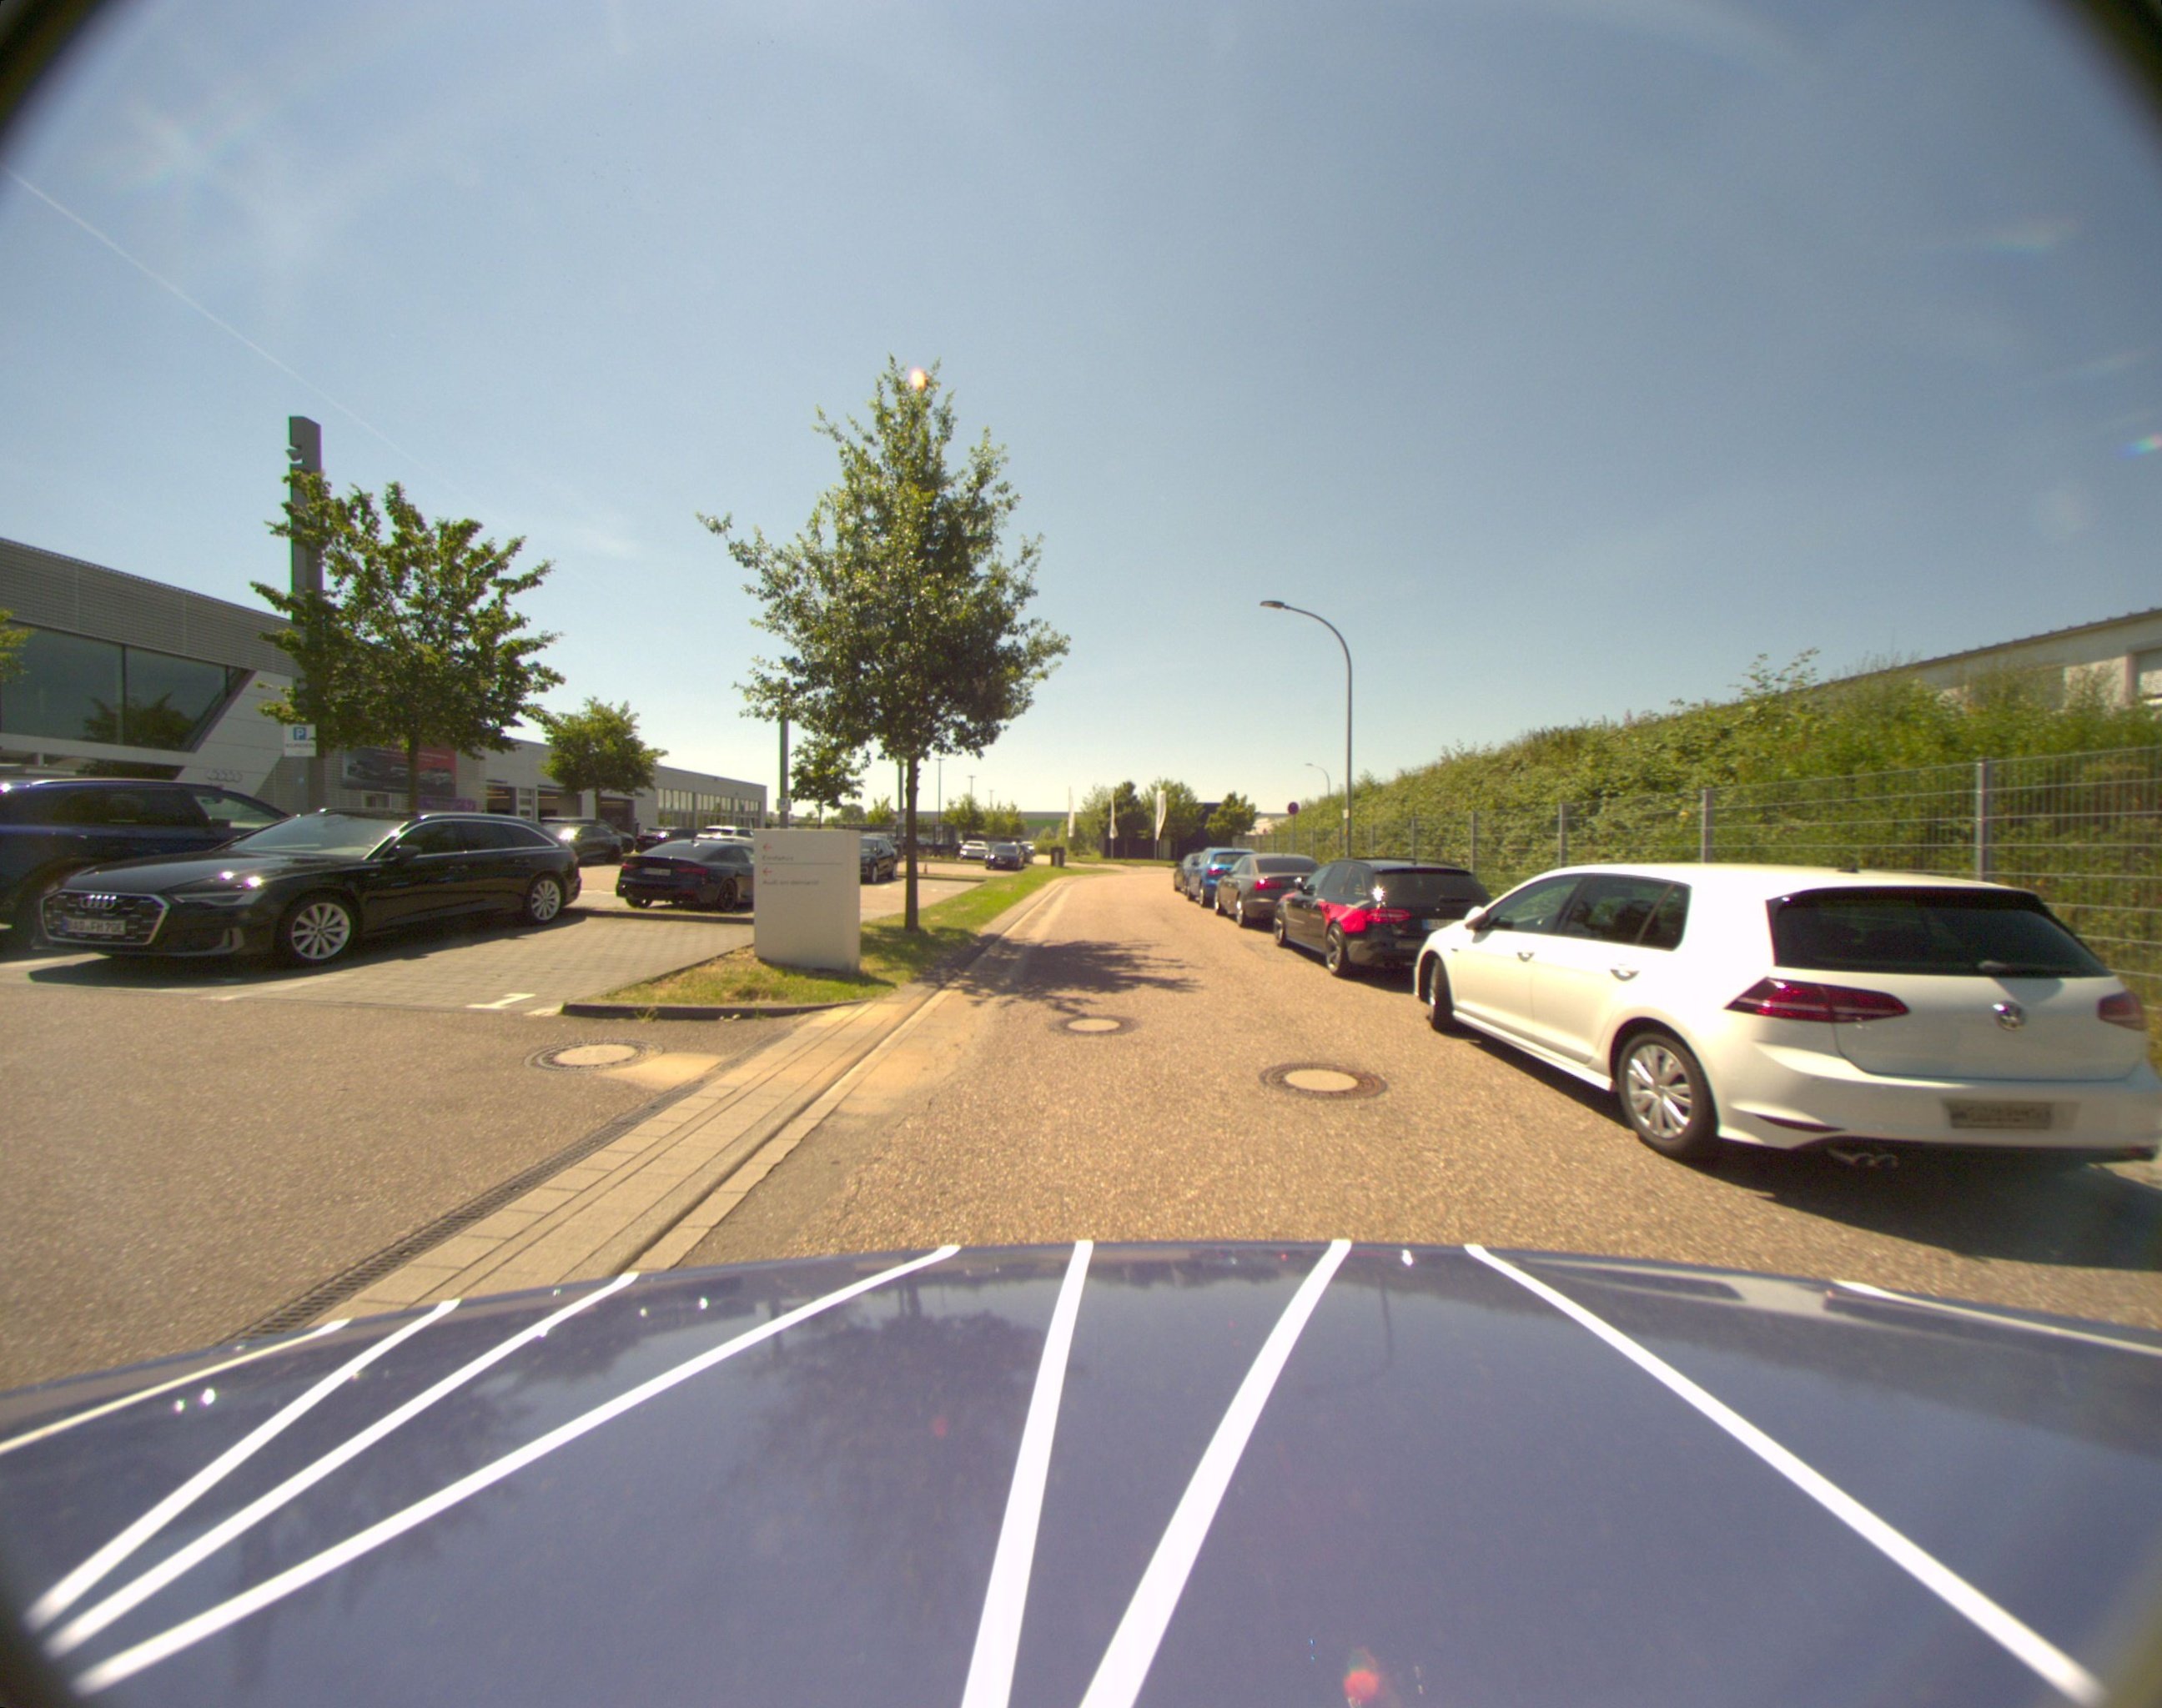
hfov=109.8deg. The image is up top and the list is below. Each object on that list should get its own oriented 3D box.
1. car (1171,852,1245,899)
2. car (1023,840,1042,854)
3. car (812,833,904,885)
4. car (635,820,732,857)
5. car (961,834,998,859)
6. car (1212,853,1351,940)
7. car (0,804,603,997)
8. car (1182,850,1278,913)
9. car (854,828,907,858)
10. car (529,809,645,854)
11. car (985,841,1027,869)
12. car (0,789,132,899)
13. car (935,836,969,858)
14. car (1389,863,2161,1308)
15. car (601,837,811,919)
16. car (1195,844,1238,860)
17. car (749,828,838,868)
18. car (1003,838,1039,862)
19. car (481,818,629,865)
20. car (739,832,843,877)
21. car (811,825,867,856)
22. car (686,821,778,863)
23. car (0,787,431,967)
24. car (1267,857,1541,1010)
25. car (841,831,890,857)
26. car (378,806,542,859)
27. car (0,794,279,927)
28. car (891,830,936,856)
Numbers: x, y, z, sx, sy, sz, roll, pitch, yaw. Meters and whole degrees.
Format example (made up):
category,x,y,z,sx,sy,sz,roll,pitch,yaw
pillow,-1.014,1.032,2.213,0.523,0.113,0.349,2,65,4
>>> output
category,x,y,z,sx,sy,sz,roll,pitch,yaw
car,4.346,0.678,26.687,1.829,1.446,4.580,1,1,0
car,-5.823,-0.847,91.733,1.823,1.637,4.396,2,1,3
car,-7.718,0.141,26.684,1.892,1.562,4.227,3,1,0
car,-17.380,-0.659,33.496,1.966,1.468,4.371,2,1,0
car,-6.856,-0.526,51.785,1.824,1.520,4.944,2,1,0
car,4.011,0.763,15.986,1.828,1.491,4.520,1,1,2
car,-7.882,0.253,8.403,1.966,1.449,4.984,2,3,1
car,4.061,0.681,21.393,1.829,1.561,4.386,1,1,0
car,-11.633,-0.622,44.469,1.829,1.634,4.785,1,1,0
car,-21.430,-0.947,33.254,1.966,1.729,4.728,2,1,0
car,-4.305,0.014,44.504,1.884,1.446,5.023,3,1,0
car,-15.331,-0.106,8.947,1.966,1.449,4.984,2,3,1
car,-10.750,-0.588,63.431,1.966,1.620,4.625,2,1,0
car,3.711,0.867,4.863,1.828,1.491,4.258,1,1,2
car,-7.586,0.446,16.034,1.966,1.358,4.721,3,0,1
car,14.054,-0.193,79.119,4.169,1.558,1.780,1,1,0
car,-12.559,-0.275,33.520,1.966,1.544,5.005,2,1,0
car,-3.978,-0.278,51.406,1.966,1.459,4.944,2,1,0
car,-17.976,-0.417,26.275,1.966,1.358,4.466,3,1,0
car,-10.042,-0.011,26.699,1.966,1.358,4.227,3,1,0
car,-14.258,-0.788,44.977,1.829,1.685,4.416,3,1,0
car,-14.932,-0.520,32.778,1.966,1.604,4.288,2,1,0
car,-10.478,0.092,8.547,1.966,1.589,4.984,2,3,1
car,3.916,0.839,10.184,1.828,1.491,4.520,1,1,2
car,-14.620,-0.673,51.857,1.966,1.620,4.625,2,1,0
car,-21.686,-0.718,26.824,1.966,1.583,4.427,4,1,3
car,-12.904,0.030,8.755,1.966,1.449,4.984,2,3,1
car,-11.376,-0.720,51.858,1.966,1.620,4.625,2,1,0
